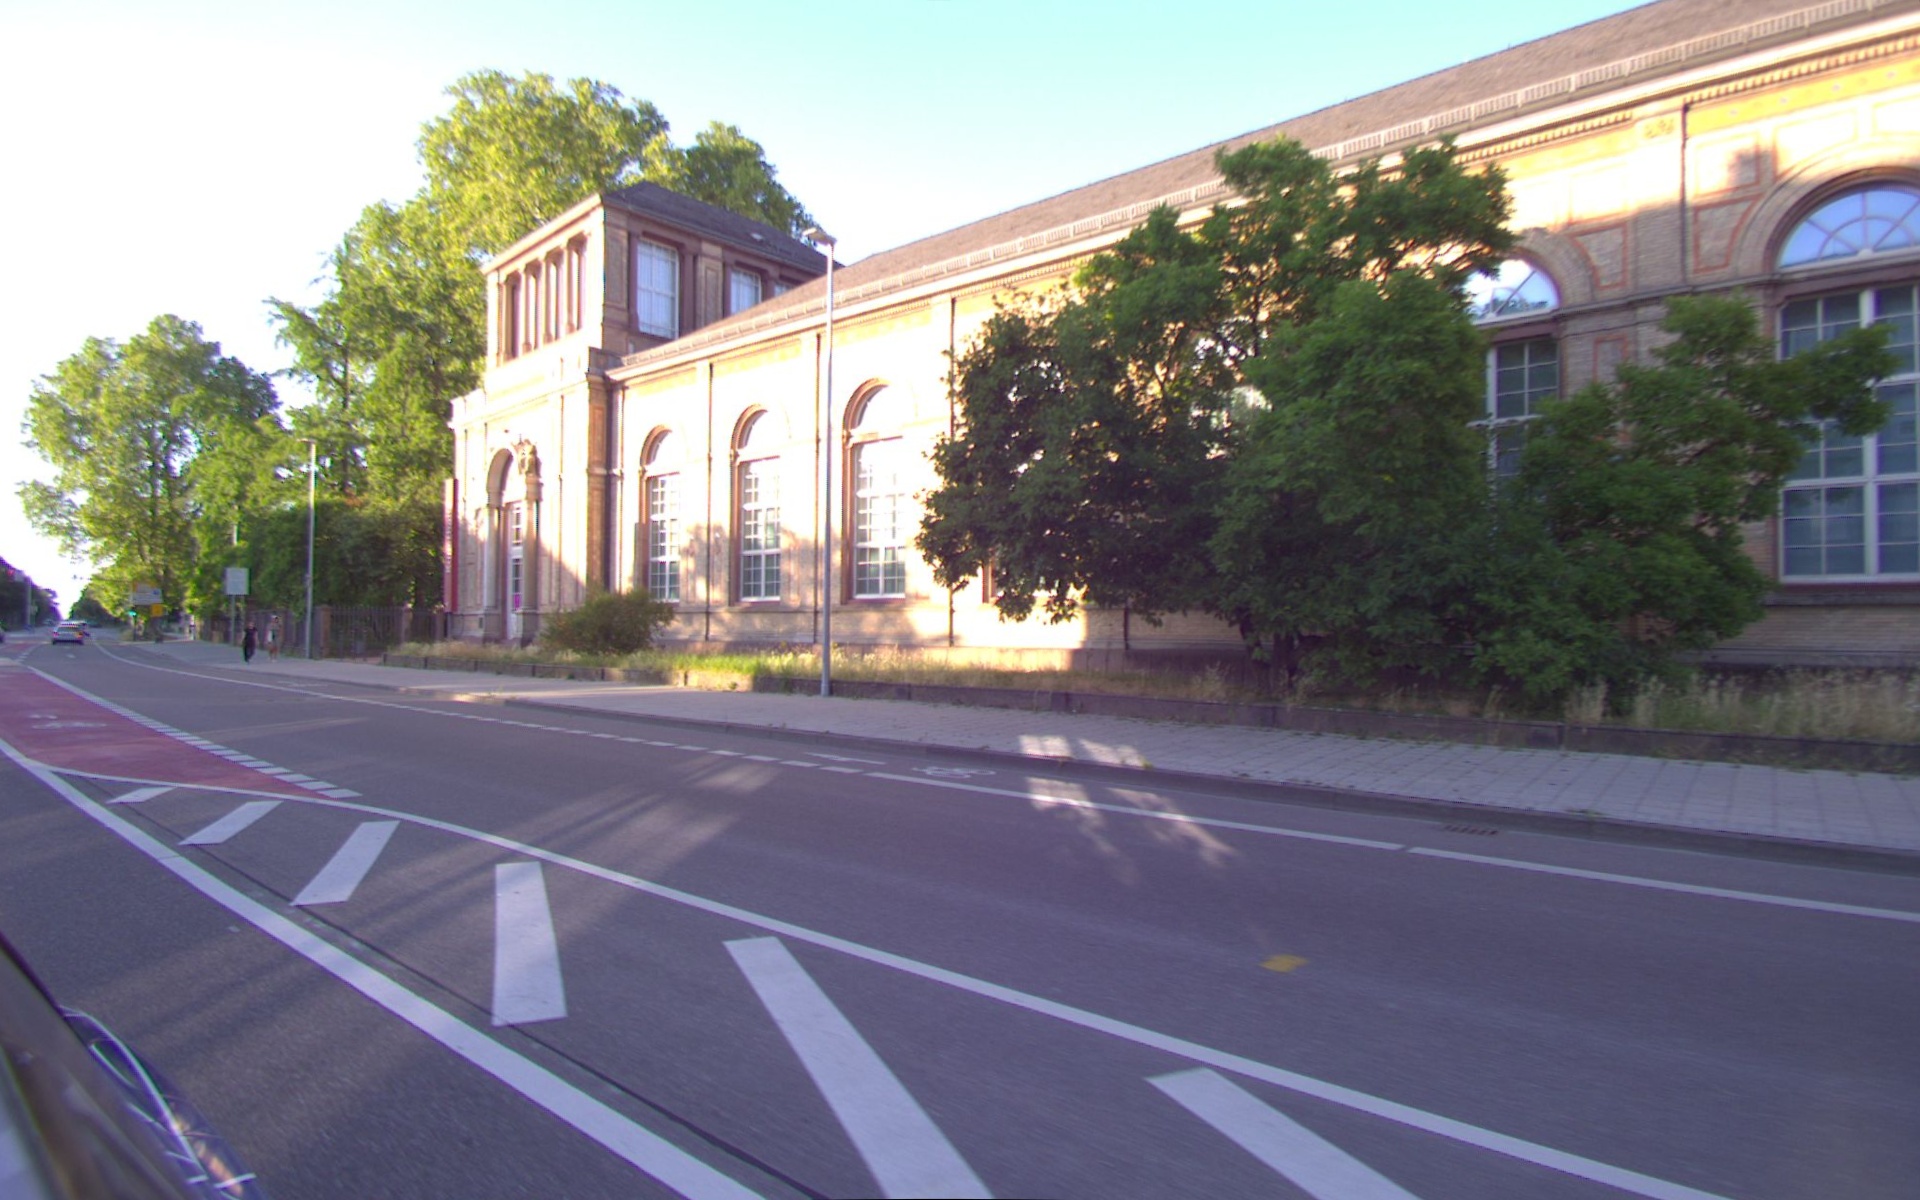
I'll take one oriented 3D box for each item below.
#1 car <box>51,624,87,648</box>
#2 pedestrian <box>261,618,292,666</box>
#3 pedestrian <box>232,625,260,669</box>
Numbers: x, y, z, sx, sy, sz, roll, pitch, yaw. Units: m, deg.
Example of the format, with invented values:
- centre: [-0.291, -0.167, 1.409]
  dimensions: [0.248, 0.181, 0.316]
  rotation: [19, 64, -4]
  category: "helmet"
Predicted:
- centre: [-64.920, 2.589, 73.682]
  dimensions: [1.893, 1.697, 4.005]
  rotation: [1, -2, -42]
  category: "car"
- centre: [-25.515, 1.557, 37.778]
  dimensions: [0.795, 1.751, 0.852]
  rotation: [1, -2, -25]
  category: "pedestrian"
- centre: [-26.219, 1.720, 37.169]
  dimensions: [0.666, 1.524, 0.836]
  rotation: [-4, 0, -43]
  category: "pedestrian"
